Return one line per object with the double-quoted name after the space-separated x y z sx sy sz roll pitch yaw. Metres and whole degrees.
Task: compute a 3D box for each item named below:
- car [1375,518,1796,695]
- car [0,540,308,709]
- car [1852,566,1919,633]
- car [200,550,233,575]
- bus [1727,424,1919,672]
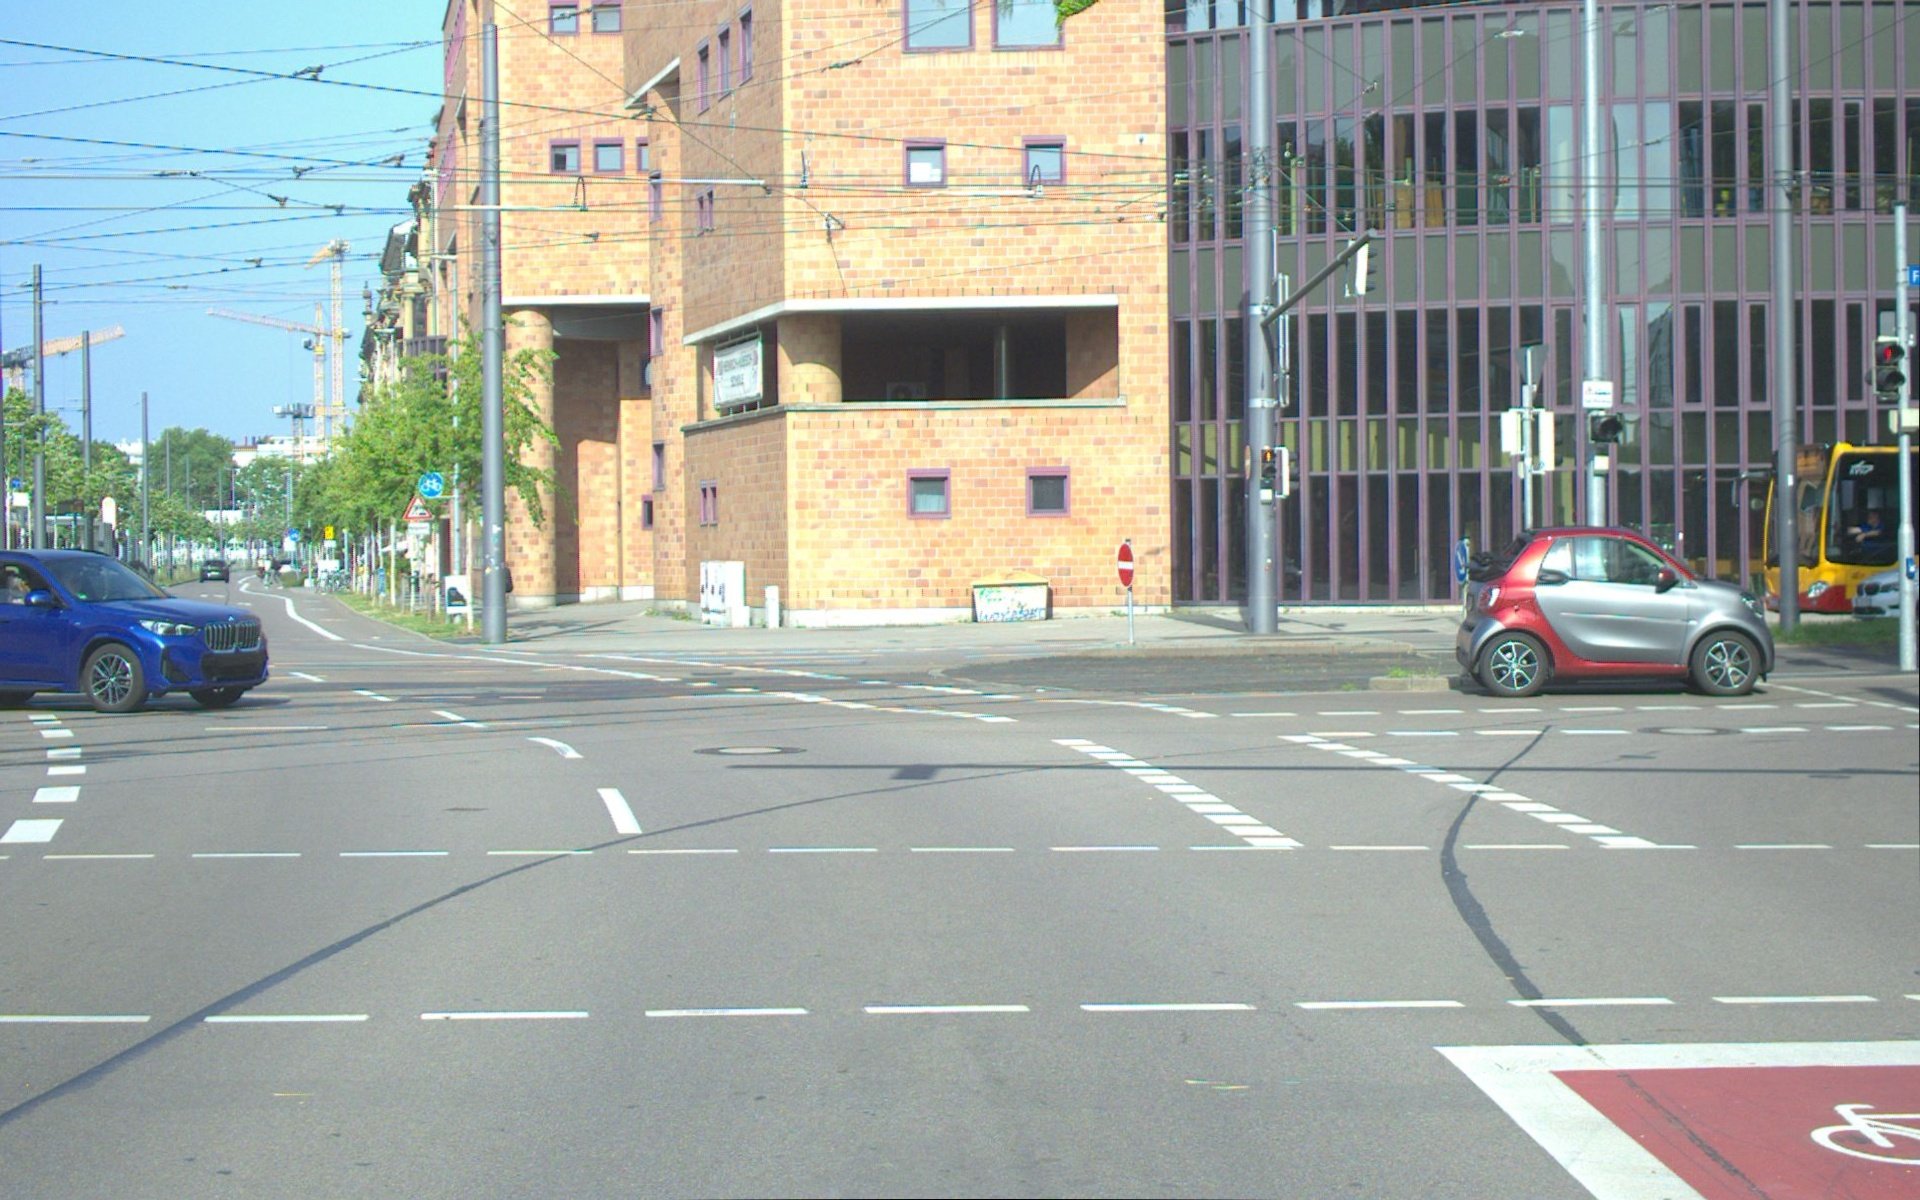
5.640 0.042 31.308 3.592 1.487 1.702 -1 2 4 "car"
-9.075 0.266 35.042 4.404 1.630 1.990 -1 -1 23 "car"
14.240 -0.025 50.515 1.951 0.955 1.094 -1 1 -1 "car"
-48.555 -2.468 224.693 2.073 1.537 4.415 -1 -1 -12 "car"
21.373 -0.881 55.669 17.605 3.797 2.866 -1 -1 -9 "bus"
